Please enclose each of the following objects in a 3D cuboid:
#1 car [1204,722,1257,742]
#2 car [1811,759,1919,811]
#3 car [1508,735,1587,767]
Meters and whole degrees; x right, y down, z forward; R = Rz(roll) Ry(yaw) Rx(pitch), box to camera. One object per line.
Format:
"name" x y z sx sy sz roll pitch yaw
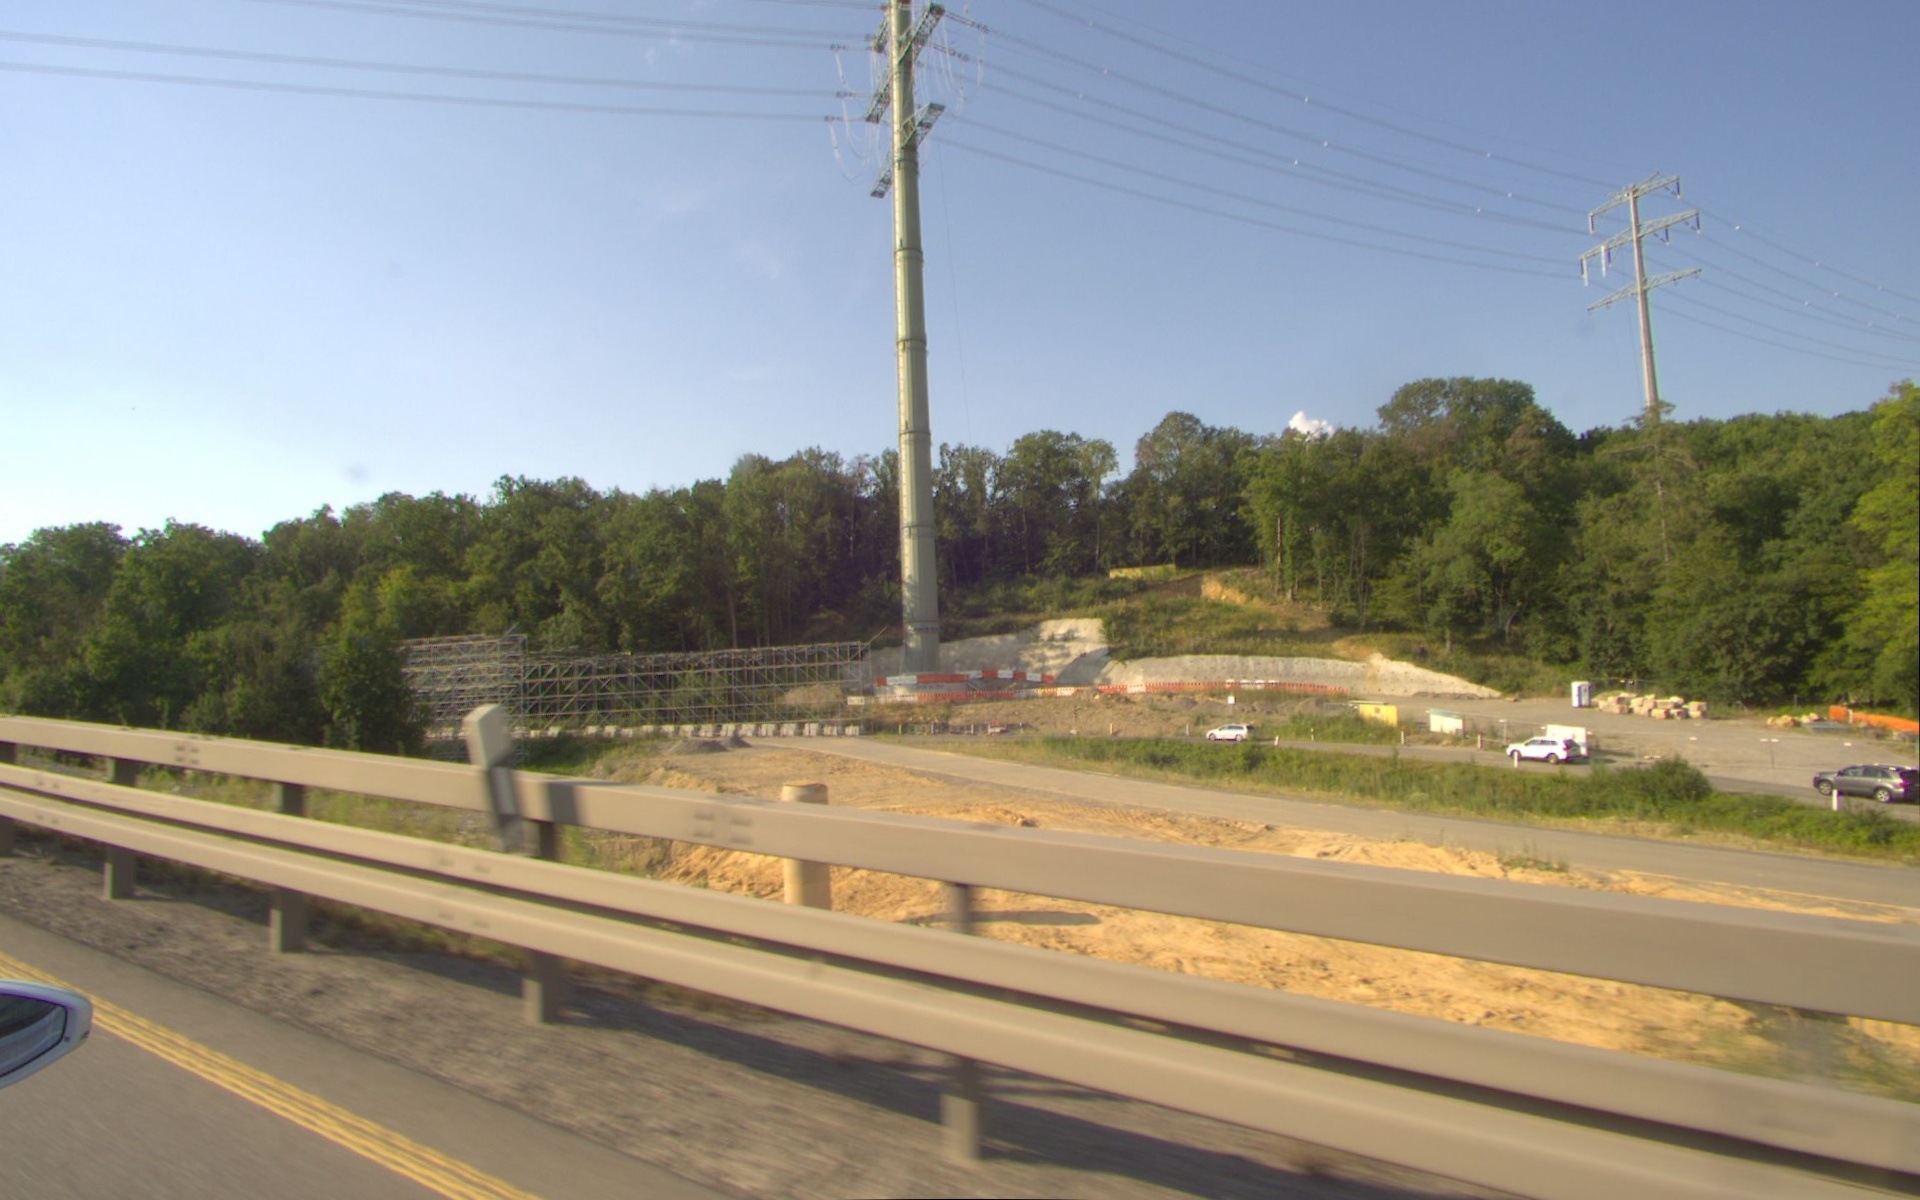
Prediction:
"car" 23.896 11.647 88.489 4.220 1.479 1.518 -3 -2 41
"car" 45.215 9.081 49.512 1.835 1.807 4.492 0 -2 -17
"car" 39.182 10.048 66.896 1.646 1.682 4.459 2 -3 -23
